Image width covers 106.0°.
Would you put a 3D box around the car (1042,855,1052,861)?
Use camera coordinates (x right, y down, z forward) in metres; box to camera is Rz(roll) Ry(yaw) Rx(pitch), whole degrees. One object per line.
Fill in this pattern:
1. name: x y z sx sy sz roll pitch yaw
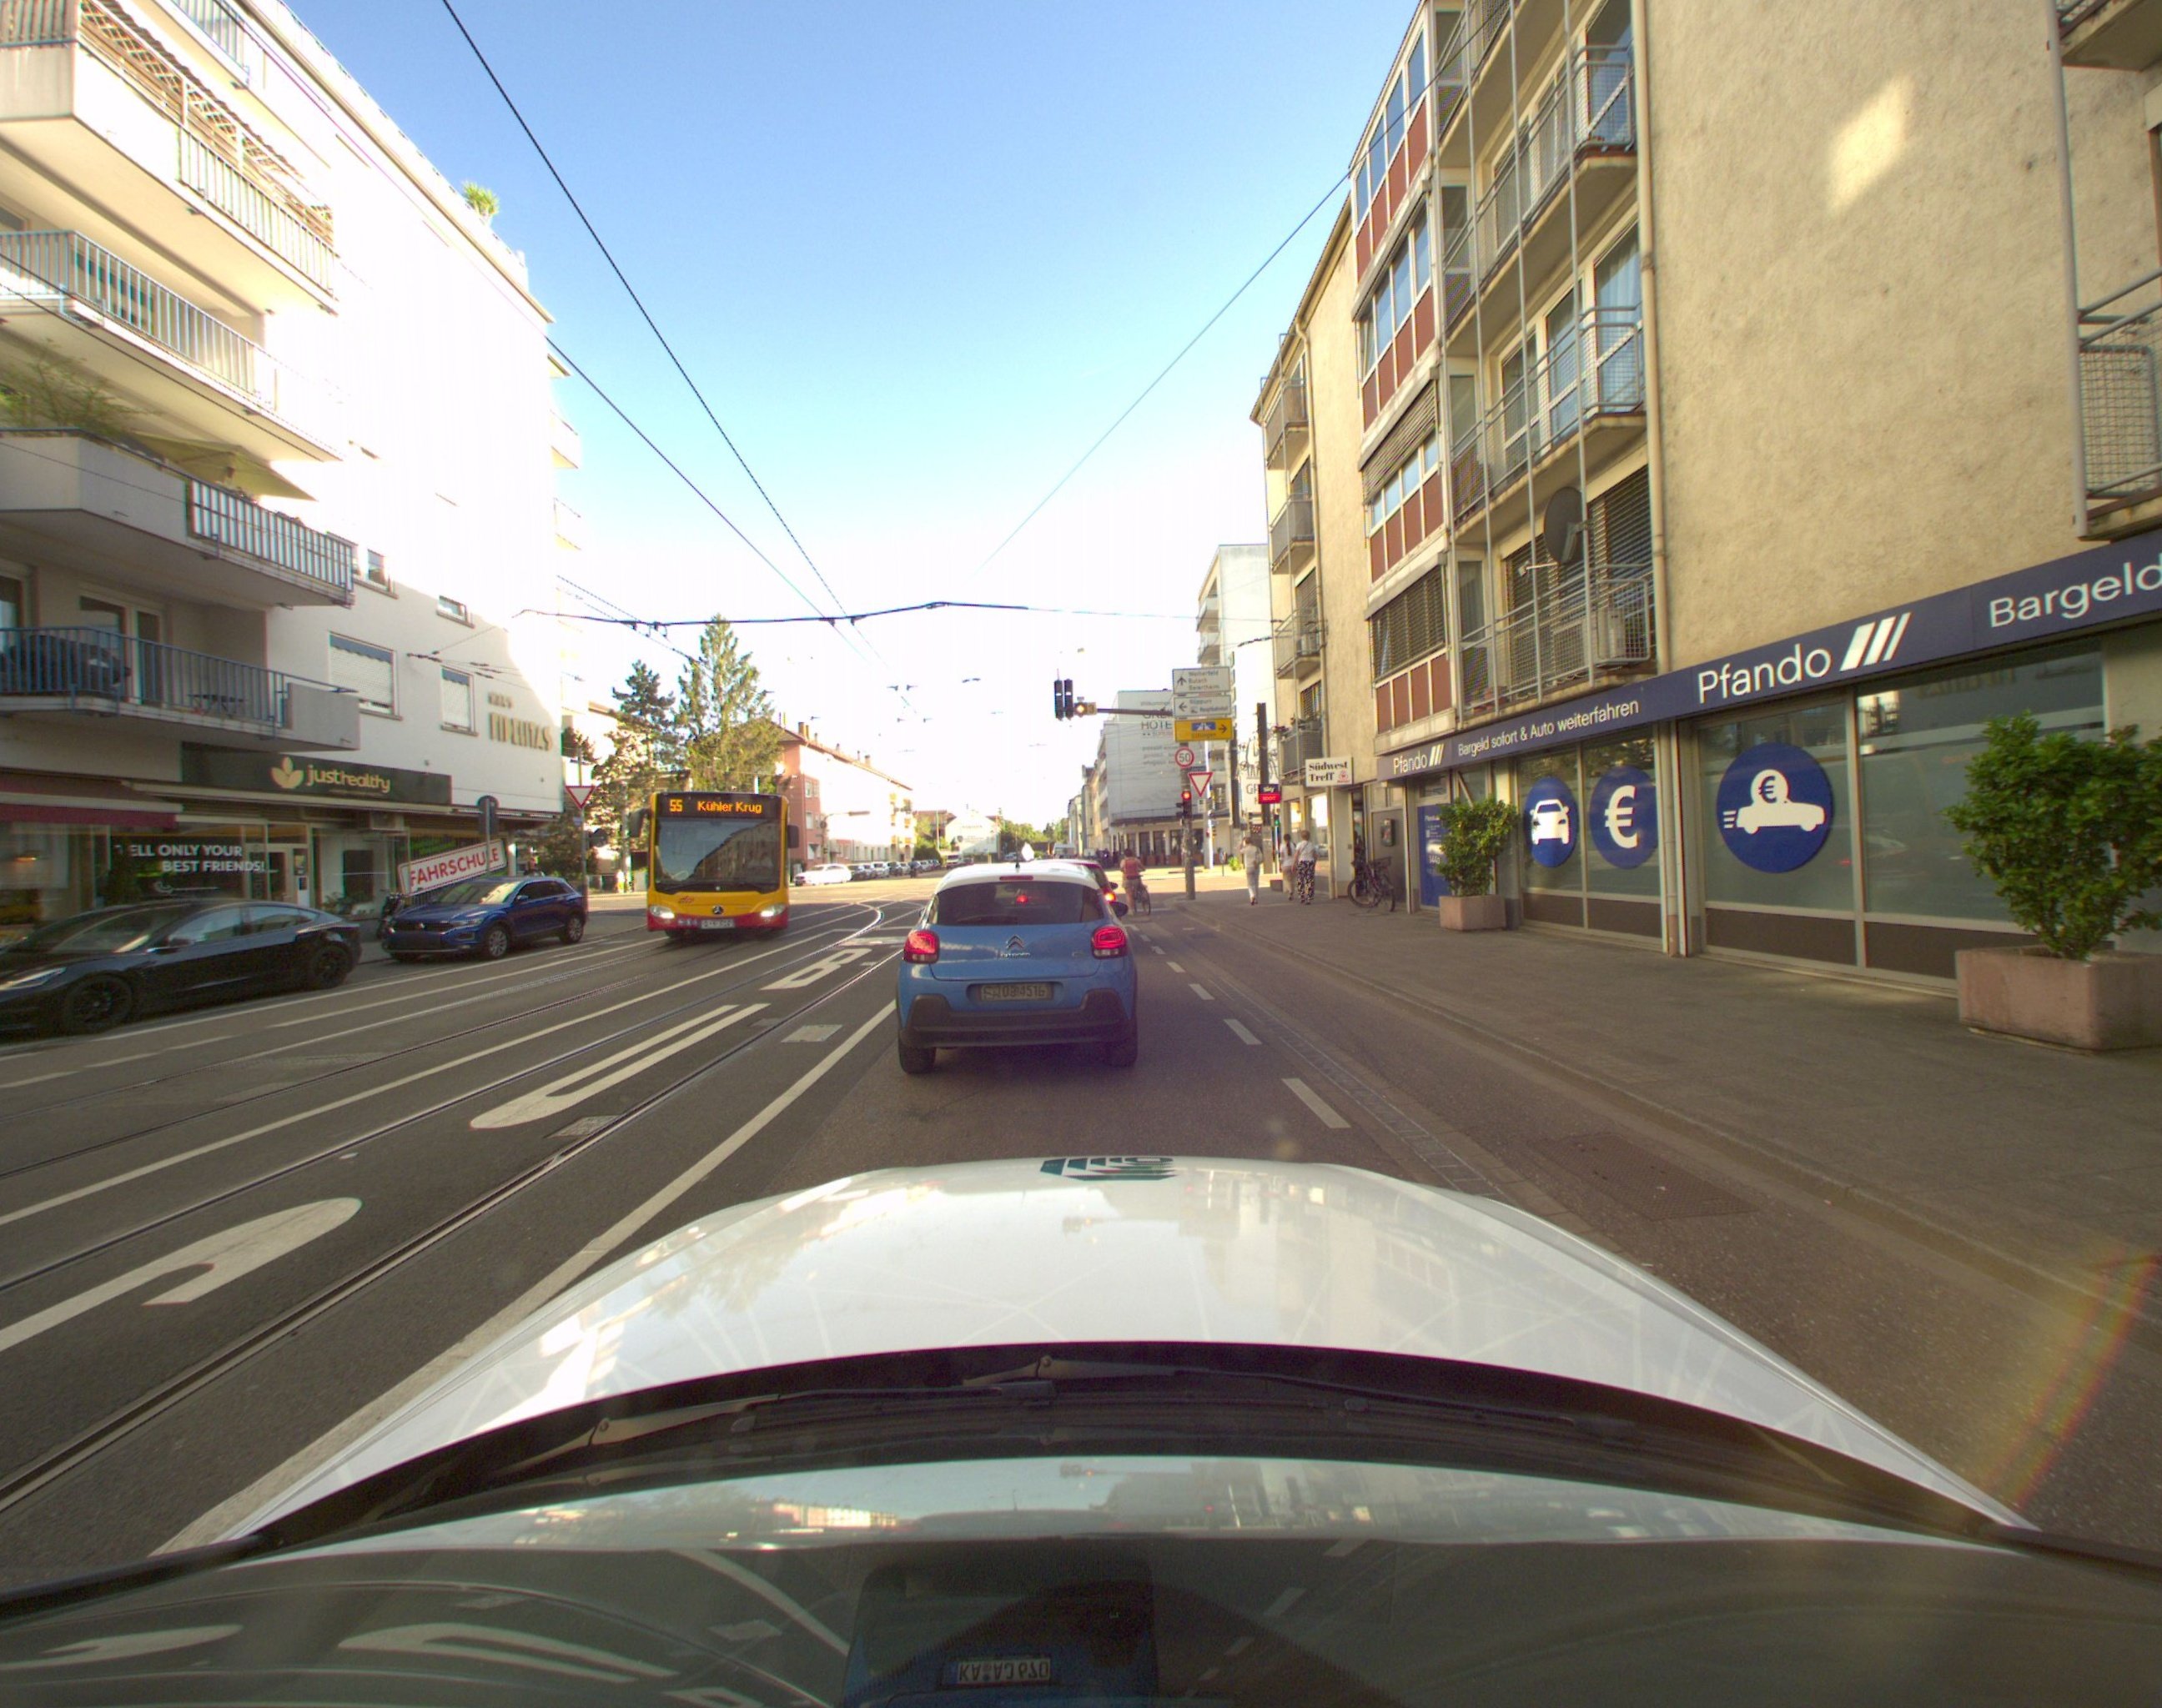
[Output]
1. car: -7.252 0.882 173.487 1.752 1.259 3.825 -2 0 -5

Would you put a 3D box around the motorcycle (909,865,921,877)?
1. motorcycle: -13.827 1.419 67.932 0.613 0.864 1.671 -2 0 2

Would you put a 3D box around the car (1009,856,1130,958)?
1. car: -0.114 0.781 14.013 1.732 1.420 4.001 -2 0 1

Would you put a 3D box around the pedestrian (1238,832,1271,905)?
1. pedestrian: 4.134 0.326 19.410 0.539 1.672 0.624 -4 2 -1

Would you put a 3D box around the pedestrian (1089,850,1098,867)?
1. pedestrian: 1.214 0.429 76.559 0.487 1.556 0.652 -3 0 37

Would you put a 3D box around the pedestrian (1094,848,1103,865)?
1. pedestrian: 1.627 0.246 74.663 0.487 1.556 0.652 -3 0 37

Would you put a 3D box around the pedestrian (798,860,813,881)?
1. pedestrian: -22.103 1.330 65.343 0.840 1.690 0.738 -2 0 4

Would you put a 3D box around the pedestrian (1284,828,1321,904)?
1. pedestrian: 5.055 0.274 18.606 0.539 1.672 0.650 -4 0 -1

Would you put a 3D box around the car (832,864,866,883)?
1. car: -19.779 1.632 69.591 1.907 1.433 3.994 -3 0 -4

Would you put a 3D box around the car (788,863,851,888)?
1. car: -18.722 1.521 58.522 1.834 1.574 4.424 -2 0 22

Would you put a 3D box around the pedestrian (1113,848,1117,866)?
1. pedestrian: 2.930 0.261 70.474 0.284 1.556 0.304 -3 0 -7

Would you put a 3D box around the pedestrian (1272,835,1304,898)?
1. pedestrian: 5.151 0.301 20.279 0.539 1.507 0.611 -4 2 -1

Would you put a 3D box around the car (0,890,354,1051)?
1. car: -12.039 1.308 10.387 1.694 1.509 4.309 -1 -1 -1

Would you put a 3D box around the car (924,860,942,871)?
1. car: -21.233 1.637 116.980 1.865 1.574 3.997 -2 0 -2

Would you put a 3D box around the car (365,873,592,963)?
1. car: -11.923 1.179 16.499 1.740 1.509 3.996 -1 -1 -3

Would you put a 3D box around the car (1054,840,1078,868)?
1. car: -1.371 0.006 72.870 1.988 2.325 3.997 -1 0 -2

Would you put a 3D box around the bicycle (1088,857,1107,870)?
1. bicycle: 1.330 0.751 66.364 1.497 0.957 0.702 -3 0 3

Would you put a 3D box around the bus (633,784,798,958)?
1. bus: -8.513 0.324 20.126 2.731 3.158 10.128 -3 0 -19

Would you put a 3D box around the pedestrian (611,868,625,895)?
1. pedestrian: -31.946 1.896 56.195 0.507 1.833 0.673 -2 0 2

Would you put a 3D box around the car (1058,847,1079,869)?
1. car: -1.064 0.326 67.946 1.728 1.750 3.211 -1 0 -2

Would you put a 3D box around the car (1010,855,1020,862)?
1. car: -15.249 1.000 187.747 2.016 1.525 3.996 -3 0 -2

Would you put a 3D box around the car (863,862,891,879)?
1. car: -19.990 1.620 79.951 1.906 1.497 3.996 -3 0 -3

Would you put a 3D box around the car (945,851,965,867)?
1. car: -18.550 0.698 119.930 2.201 2.251 4.672 -3 0 -2

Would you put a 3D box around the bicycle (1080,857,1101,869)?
1. bicycle: 0.782 0.776 68.793 1.713 0.957 0.702 -3 0 3

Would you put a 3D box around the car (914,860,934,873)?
1. car: -20.571 1.632 106.873 1.906 1.497 3.996 -3 0 -3

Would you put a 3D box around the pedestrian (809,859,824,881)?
1. pedestrian: -21.224 1.308 65.436 0.840 1.690 0.738 -2 0 4

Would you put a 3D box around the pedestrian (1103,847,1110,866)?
1. pedestrian: 2.189 0.227 70.191 0.490 1.556 0.383 -3 0 -2

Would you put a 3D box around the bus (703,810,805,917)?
1. bus: -11.180 0.294 28.447 2.746 3.161 7.530 -3 0 -19

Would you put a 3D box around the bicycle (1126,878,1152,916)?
1. bicycle: 1.470 1.077 20.968 0.497 0.864 1.748 -2 0 -1

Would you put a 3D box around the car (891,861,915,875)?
1. car: -20.282 1.563 92.884 1.906 1.497 3.996 -3 0 -3

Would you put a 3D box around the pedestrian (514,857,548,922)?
1. pedestrian: -17.389 1.120 25.749 0.685 2.013 0.485 -2 0 -5

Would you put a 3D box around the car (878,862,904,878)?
1. car: -20.250 1.710 86.741 1.906 1.497 3.996 -3 0 -3

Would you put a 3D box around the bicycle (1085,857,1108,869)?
1. bicycle: 1.268 0.755 67.425 1.866 0.957 0.702 -3 0 3

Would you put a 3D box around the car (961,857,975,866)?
1. car: -20.092 1.370 145.325 2.016 1.525 3.996 -2 0 -2

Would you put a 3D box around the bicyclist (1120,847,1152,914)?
1. bicyclist: 1.381 0.651 20.633 0.723 1.646 0.790 -2 0 1

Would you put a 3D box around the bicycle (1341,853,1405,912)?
1. bicycle: 5.691 0.527 15.965 0.529 1.072 1.809 -2 0 -2

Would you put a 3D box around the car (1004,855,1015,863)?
1. car: -14.930 0.962 170.138 2.016 1.525 3.996 -2 0 -2

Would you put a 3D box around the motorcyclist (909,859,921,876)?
1. motorcyclist: -13.833 1.132 67.778 0.716 1.378 0.912 -2 0 2

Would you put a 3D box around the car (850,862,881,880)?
1. car: -19.904 1.576 75.324 1.906 1.497 3.996 -3 0 -3

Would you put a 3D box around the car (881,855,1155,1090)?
1. car: -0.542 0.755 7.252 1.741 1.462 3.994 -1 0 -4
